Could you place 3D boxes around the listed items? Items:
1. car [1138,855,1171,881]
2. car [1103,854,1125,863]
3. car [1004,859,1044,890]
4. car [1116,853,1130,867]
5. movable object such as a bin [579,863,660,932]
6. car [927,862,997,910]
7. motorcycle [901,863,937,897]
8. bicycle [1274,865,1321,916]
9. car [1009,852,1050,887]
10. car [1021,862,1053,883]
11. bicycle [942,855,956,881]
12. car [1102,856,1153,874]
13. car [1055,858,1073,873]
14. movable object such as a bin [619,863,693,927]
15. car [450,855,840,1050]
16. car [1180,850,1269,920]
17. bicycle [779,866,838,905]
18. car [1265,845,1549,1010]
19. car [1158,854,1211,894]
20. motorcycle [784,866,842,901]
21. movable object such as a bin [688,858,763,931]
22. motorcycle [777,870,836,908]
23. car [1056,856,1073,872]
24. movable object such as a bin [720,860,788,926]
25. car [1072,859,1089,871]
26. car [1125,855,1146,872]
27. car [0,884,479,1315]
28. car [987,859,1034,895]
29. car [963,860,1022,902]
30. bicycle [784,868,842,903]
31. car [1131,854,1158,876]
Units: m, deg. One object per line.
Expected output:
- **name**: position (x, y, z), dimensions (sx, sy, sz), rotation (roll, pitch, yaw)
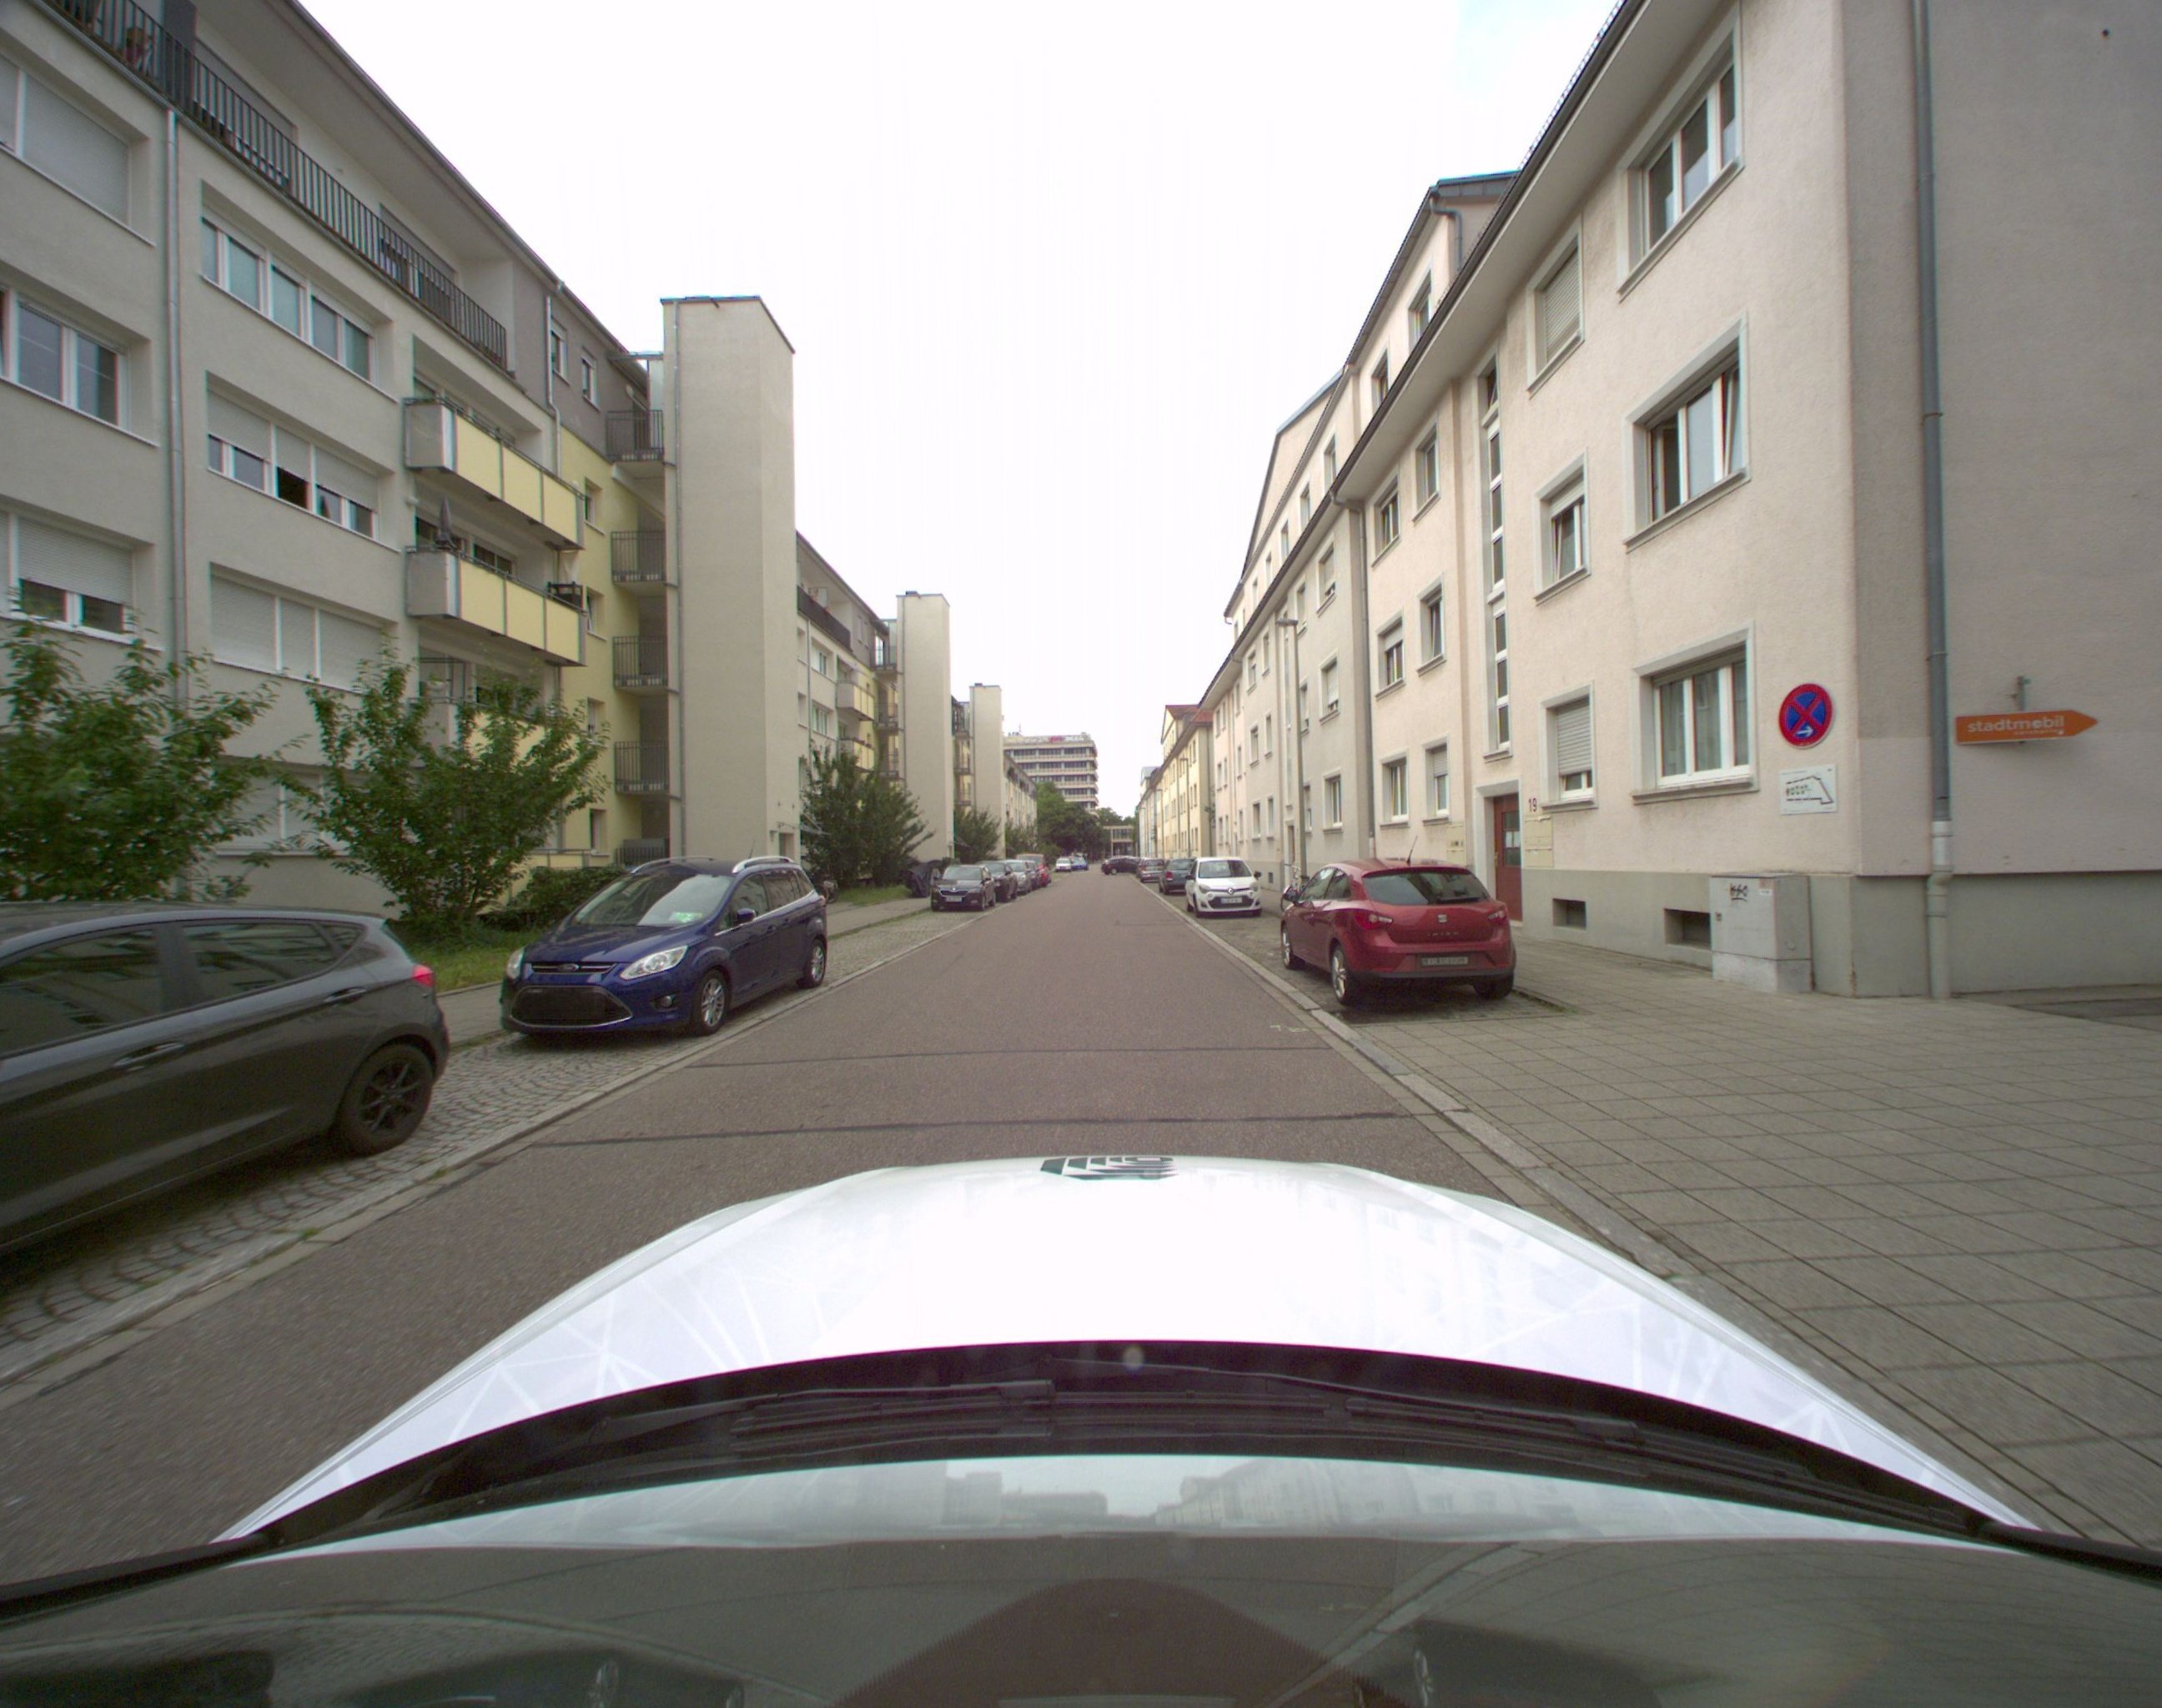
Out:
- **car**: position (4.458, 0.818, 49.999), dimensions (1.719, 1.492, 4.062), rotation (-2, 0, 1)
- **car**: position (6.758, 0.898, 165.475), dimensions (4.187, 1.652, 1.893), rotation (-2, 0, -6)
- **car**: position (-3.016, 1.053, 43.784), dimensions (1.714, 1.570, 4.055), rotation (1, 0, 2)
- **car**: position (5.475, 0.762, 106.071), dimensions (1.813, 1.642, 4.093), rotation (-2, 0, 2)
- **movable object such as a bin**: position (-10.038, 0.924, 17.773), dimensions (0.998, 1.447, 1.315), rotation (0, -1, 2)
- **car**: position (-3.850, 1.008, 26.919), dimensions (1.637, 1.438, 3.858), rotation (1, 0, 2)
- **motorcycle**: position (-6.496, 1.027, 32.842), dimensions (0.866, 1.307, 2.421), rotation (0, 0, 2)
- **bicycle**: position (5.239, 0.845, 19.846), dimensions (0.603, 1.140, 2.125), rotation (-2, 0, 1)
- **car**: position (-3.036, 0.902, 49.036), dimensions (2.145, 1.954, 4.920), rotation (1, 0, -1)
- **car**: position (-2.944, 1.225, 55.093), dimensions (1.864, 1.323, 4.362), rotation (0, 0, 0)
- **bicycle**: position (-6.489, 0.681, 40.150), dimensions (0.551, 1.192, 1.725), rotation (-2, 0, -5)
- **car**: position (3.983, 0.915, 70.685), dimensions (4.208, 1.433, 1.908), rotation (-2, 0, -3)
- **car**: position (-1.839, 1.236, 89.832), dimensions (1.714, 1.570, 3.871), rotation (1, 0, 2)
- **movable object such as a bin**: position (-9.993, 0.935, 19.199), dimensions (0.998, 1.447, 1.315), rotation (0, -1, 2)
- **car**: position (-4.308, 0.827, 9.041), dimensions (1.793, 1.627, 4.473), rotation (0, 0, 2)
- **car**: position (3.630, 0.745, 21.224), dimensions (1.776, 1.599, 3.807), rotation (-2, 0, 3)
- **bicycle**: position (-8.991, 1.039, 26.896), dimensions (1.718, 1.225, 0.608), rotation (-2, 0, -3)
- **car**: position (3.428, 0.680, 9.421), dimensions (1.747, 1.409, 3.938), rotation (-3, 0, 2)
- **car**: position (4.174, 0.780, 33.361), dimensions (1.719, 1.469, 4.265), rotation (-2, 0, 1)
- **motorcycle**: position (-9.252, 1.009, 28.164), dimensions (1.745, 1.129, 0.593), rotation (-2, 0, -3)
- **movable object such as a bin**: position (-7.606, 0.840, 17.484), dimensions (0.998, 1.501, 1.315), rotation (0, -1, 2)
- **motorcycle**: position (-8.796, 1.107, 26.167), dimensions (1.611, 1.129, 0.690), rotation (-2, 0, -2)
- **car**: position (-1.937, 1.163, 95.674), dimensions (1.950, 1.770, 4.360), rotation (0, 0, -1)
- **movable object such as a bin**: position (-7.539, 0.877, 18.824), dimensions (0.998, 1.447, 1.315), rotation (0, -1, 2)
- **car**: position (-0.013, 1.337, 101.013), dimensions (1.837, 1.451, 4.504), rotation (-1, 0, 3)
- **car**: position (5.187, 0.920, 77.772), dimensions (1.719, 1.517, 4.062), rotation (-2, 0, 1)
- **car**: position (-4.650, 0.912, 3.321), dimensions (1.616, 1.445, 3.816), rotation (0, 0, -2)
- **car**: position (-3.275, 1.048, 38.629), dimensions (1.829, 1.570, 4.860), rotation (1, 0, -1)
- **car**: position (-3.485, 1.039, 32.664), dimensions (1.645, 1.530, 3.899), rotation (1, 0, 4)
- **bicycle**: position (-9.038, 1.060, 27.532), dimensions (1.718, 1.142, 0.608), rotation (-1, 0, -3)
- **car**: position (4.708, 0.800, 60.523), dimensions (1.719, 1.517, 4.062), rotation (-2, 0, 1)
